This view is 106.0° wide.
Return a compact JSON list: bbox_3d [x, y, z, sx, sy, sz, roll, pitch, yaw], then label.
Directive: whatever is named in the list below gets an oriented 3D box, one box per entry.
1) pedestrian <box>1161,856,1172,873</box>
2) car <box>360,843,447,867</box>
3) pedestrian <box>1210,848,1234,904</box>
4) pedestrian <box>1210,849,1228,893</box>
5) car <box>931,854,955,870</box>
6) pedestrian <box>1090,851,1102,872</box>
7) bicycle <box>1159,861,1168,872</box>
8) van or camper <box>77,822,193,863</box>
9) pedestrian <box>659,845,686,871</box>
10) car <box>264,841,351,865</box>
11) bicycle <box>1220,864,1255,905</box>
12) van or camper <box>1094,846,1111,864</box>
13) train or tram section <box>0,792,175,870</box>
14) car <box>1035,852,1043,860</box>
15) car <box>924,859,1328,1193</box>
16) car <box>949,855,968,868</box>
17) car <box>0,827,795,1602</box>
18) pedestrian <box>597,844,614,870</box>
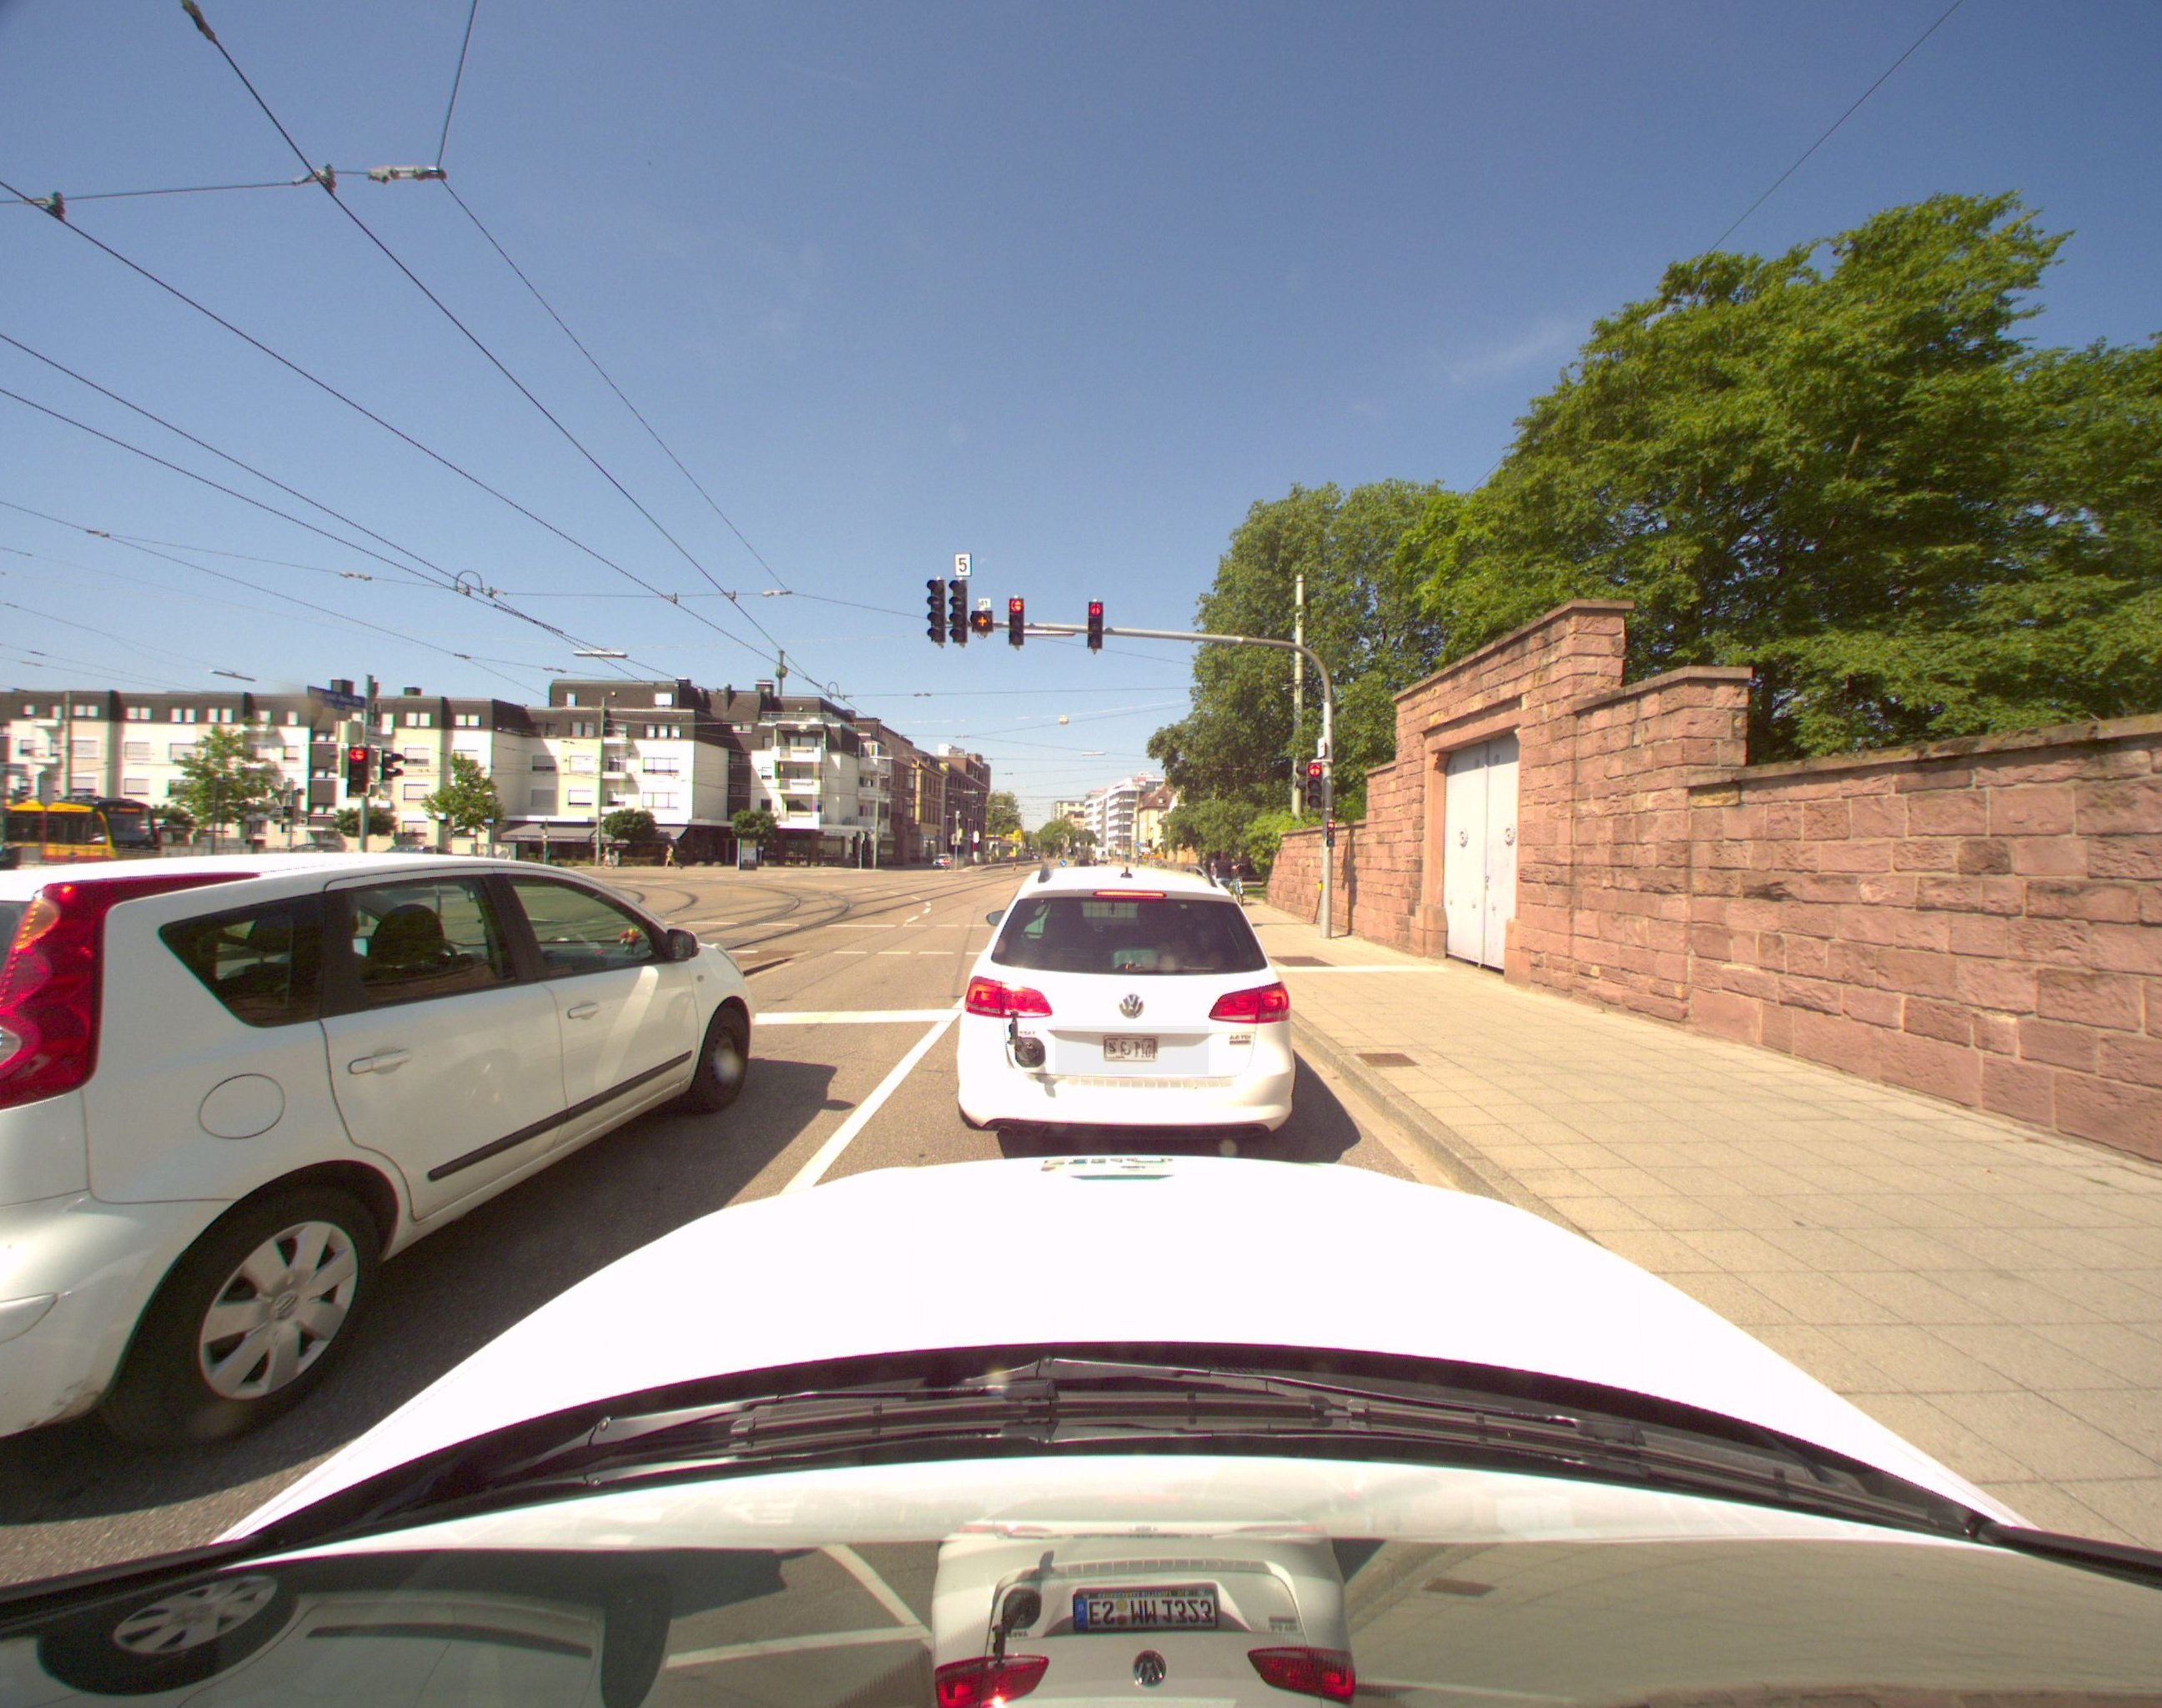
[{"bbox_3d":[7.967,0.994,75.914,0.849,1.510,0.785,1,0,19],"label":"pedestrian"},{"bbox_3d":[-44.936,0.064,54.083,4.158,1.500,1.828,1,0,0],"label":"car"},{"bbox_3d":[3.998,0.623,23.049,0.538,1.549,0.663,-1,0,1],"label":"pedestrian"},{"bbox_3d":[5.326,0.658,31.500,0.646,1.682,0.709,1,0,7],"label":"pedestrian"},{"bbox_3d":[-13.653,0.768,80.812,1.620,1.431,3.962,2,0,0],"label":"car"},{"bbox_3d":[1.326,0.681,70.647,0.825,1.809,0.832,1,0,12],"label":"pedestrian"},{"bbox_3d":[9.161,1.365,90.358,0.720,1.139,2.203,1,0,14],"label":"bicycle"},{"bbox_3d":[-62.654,-0.755,54.006,4.859,2.624,2.376,1,0,0],"label":"van or camper"},{"bbox_3d":[-29.381,0.318,58.582,1.109,1.836,1.447,0,0,43],"label":"pedestrian"},{"bbox_3d":[-51.203,-0.082,53.930,3.973,1.500,1.828,1,0,0],"label":"car"},{"bbox_3d":[4.385,0.840,22.968,0.535,1.111,1.804,0,-1,-4],"label":"bicycle"},{"bbox_3d":[3.862,0.174,146.976,2.933,3.180,6.614,1,0,1],"label":"van or camper"},{"bbox_3d":[-53.598,-1.169,40.593,13.814,3.658,2.769,1,0,1],"label":"train or tram section"},{"bbox_3d":[-11.035,0.492,215.209,1.987,2.014,3.999,0,-1,0],"label":"car"},{"bbox_3d":[0.261,0.759,5.489,1.746,1.418,3.854,1,0,2],"label":"car"},{"bbox_3d":[-13.370,0.807,88.894,1.568,1.459,3.811,1,0,-2],"label":"car"},{"bbox_3d":[-2.955,0.735,3.693,1.759,1.561,4.068,0,0,2],"label":"car"},{"bbox_3d":[-32.669,0.188,55.959,0.816,1.760,0.754,1,-1,-44],"label":"pedestrian"}]
